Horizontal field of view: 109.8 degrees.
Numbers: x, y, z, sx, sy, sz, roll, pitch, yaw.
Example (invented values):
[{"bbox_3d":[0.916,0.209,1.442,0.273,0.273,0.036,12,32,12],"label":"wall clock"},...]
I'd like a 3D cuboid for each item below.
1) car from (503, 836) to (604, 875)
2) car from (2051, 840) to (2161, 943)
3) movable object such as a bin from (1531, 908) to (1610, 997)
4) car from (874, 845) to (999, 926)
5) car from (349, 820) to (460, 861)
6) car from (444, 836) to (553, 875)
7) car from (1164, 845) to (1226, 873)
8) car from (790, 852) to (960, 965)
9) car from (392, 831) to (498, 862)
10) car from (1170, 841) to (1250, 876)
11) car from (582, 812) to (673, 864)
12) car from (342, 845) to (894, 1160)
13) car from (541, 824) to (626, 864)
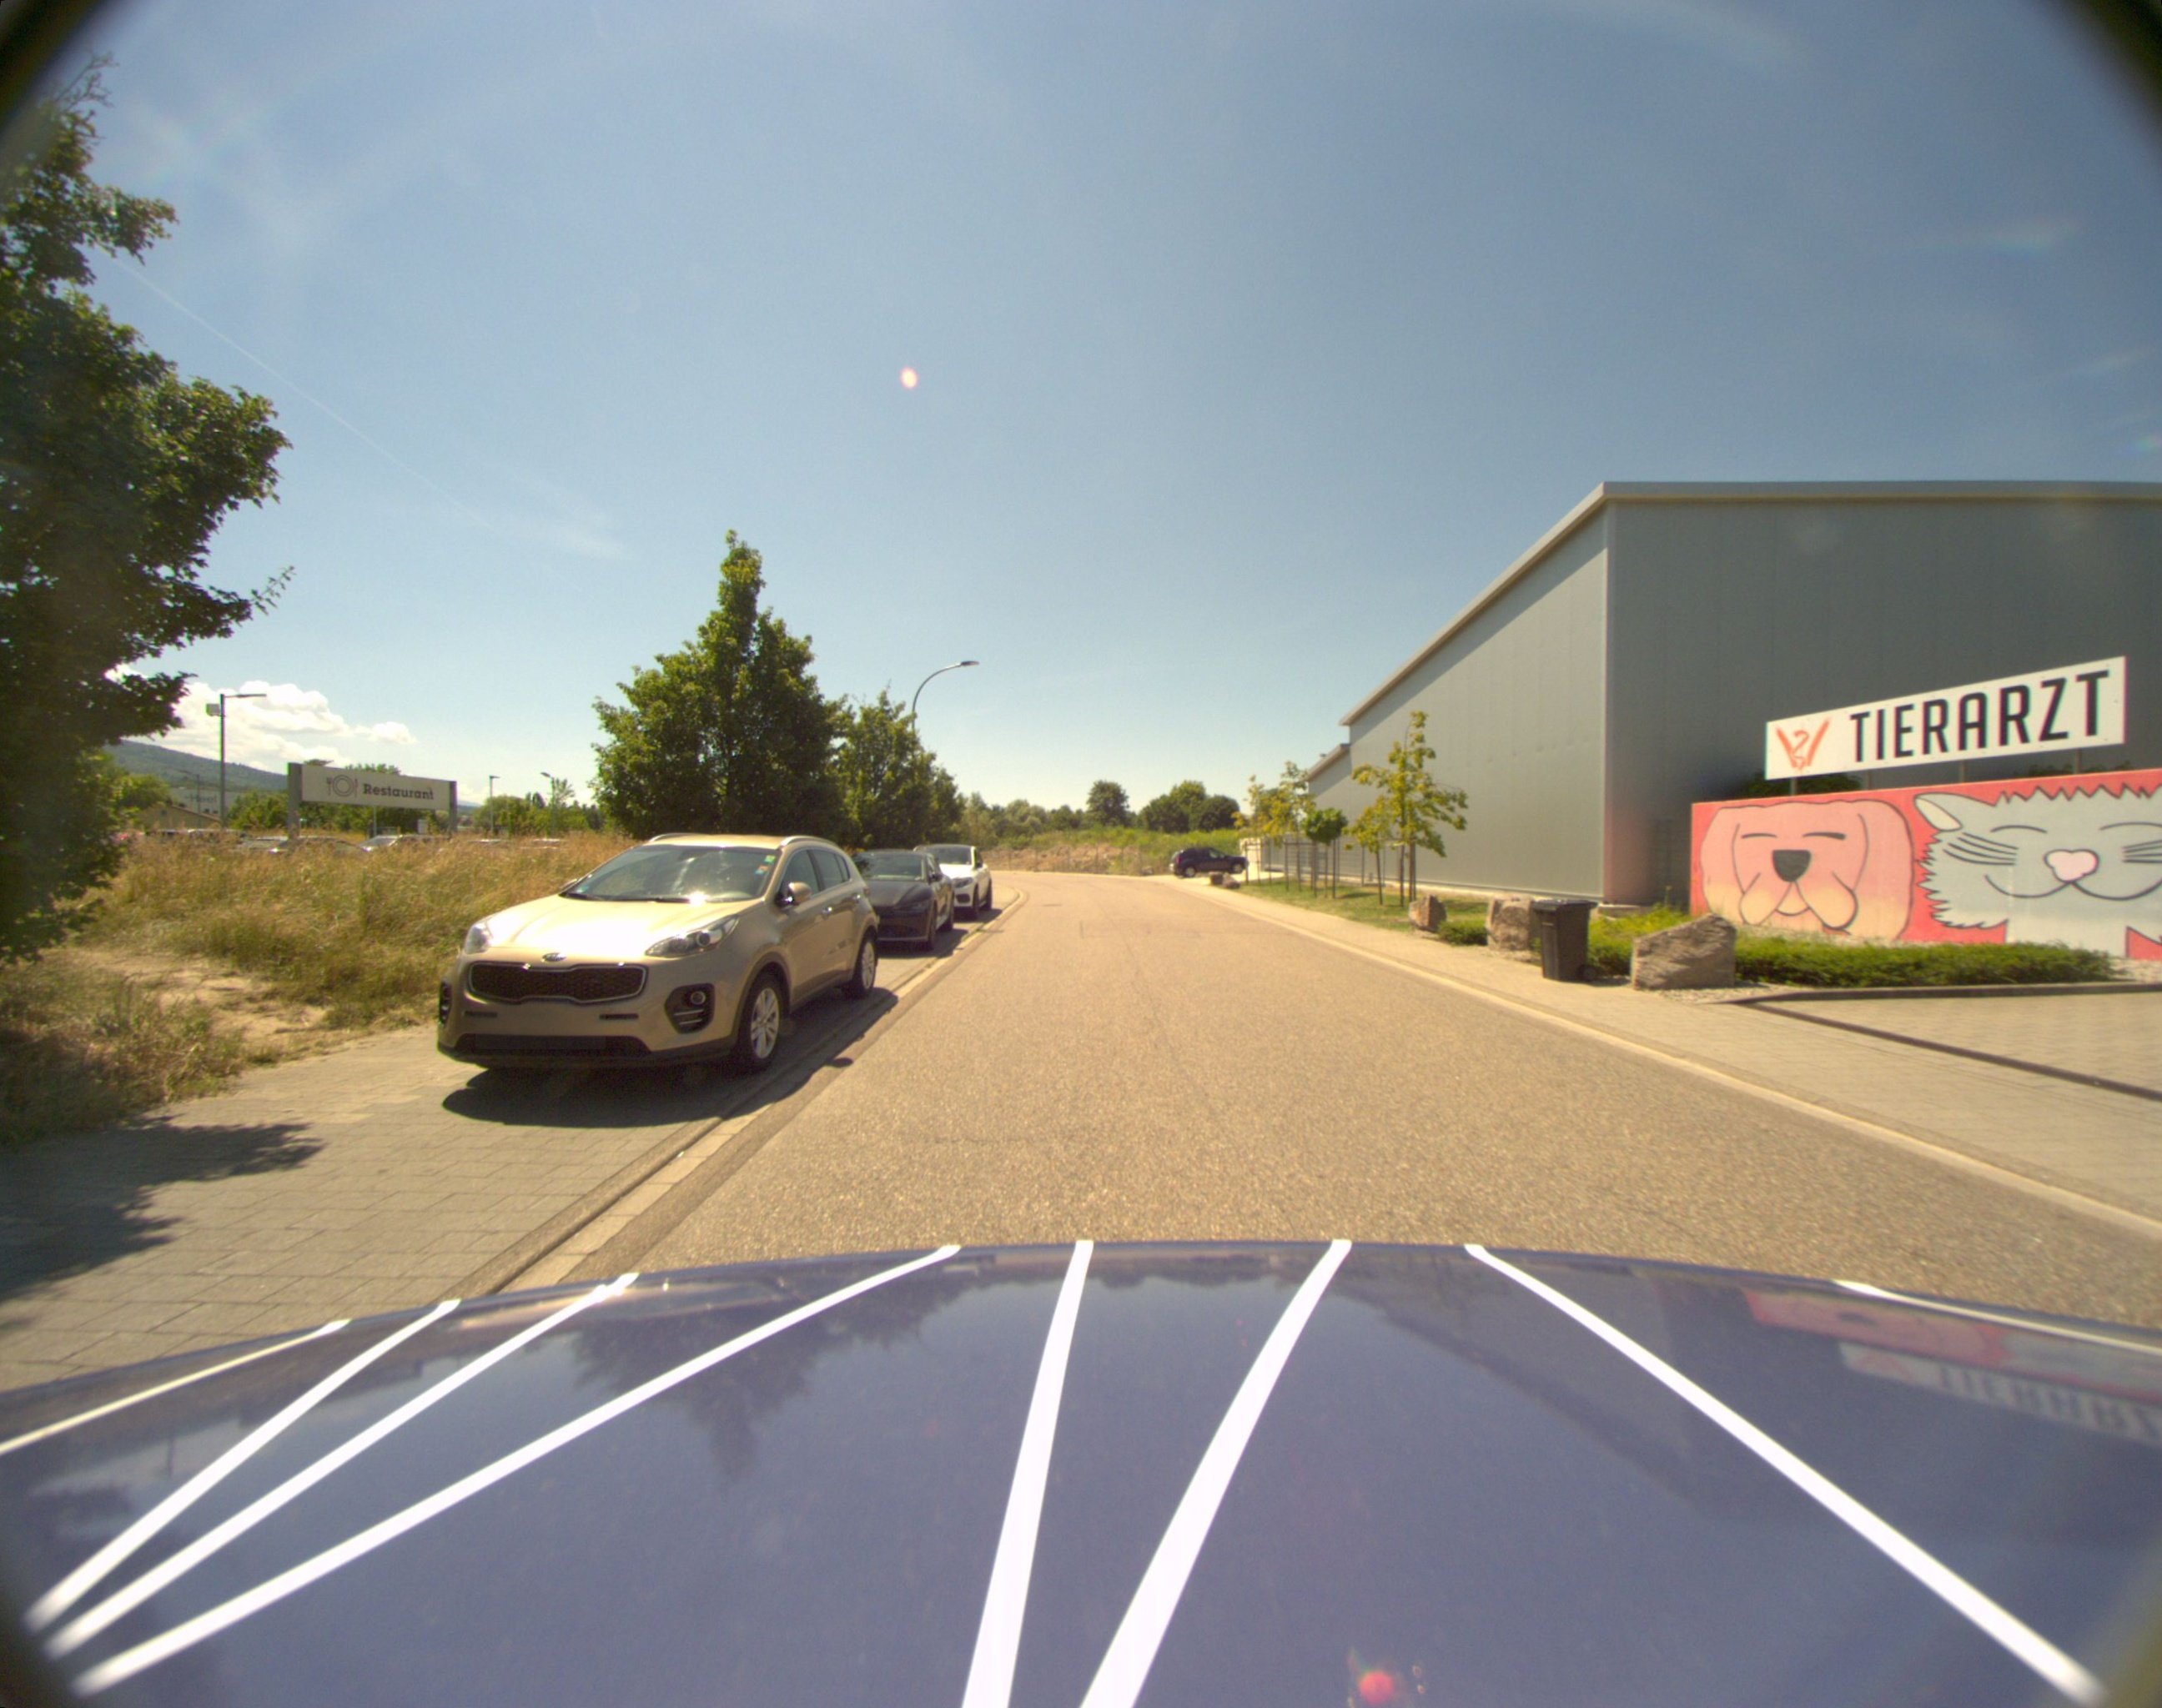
[{"bbox_3d":[-25.602,0.043,37.123,1.953,1.776,4.399,1,1,-2],"label":"car"},{"bbox_3d":[17.581,0.566,10.975,1.912,1.575,3.997,-1,0,-6],"label":"car"},{"bbox_3d":[5.596,1.109,8.704,0.572,0.944,0.512,-1,1,-6],"label":"movable object such as a bin"},{"bbox_3d":[-3.341,0.655,18.626,2.149,1.689,4.784,2,1,0],"label":"car"},{"bbox_3d":[-39.335,-0.783,44.376,1.998,2.230,4.751,1,1,4],"label":"car"},{"bbox_3d":[-28.384,0.004,37.218,1.937,1.776,4.399,1,1,0],"label":"car"},{"bbox_3d":[6.998,0.283,46.871,3.369,1.453,1.781,-5,1,-3],"label":"car"},{"bbox_3d":[-3.265,0.769,13.023,1.909,1.520,4.627,2,1,-4],"label":"car"},{"bbox_3d":[-36.803,-0.475,44.162,1.998,1.656,4.751,1,1,4],"label":"car"},{"bbox_3d":[7.349,0.227,43.452,4.173,1.649,1.781,-5,1,0],"label":"car"},{"bbox_3d":[-25.329,-0.902,42.696,1.998,2.727,4.751,1,1,4],"label":"car"},{"bbox_3d":[-3.007,0.774,6.255,1.809,1.626,4.457,2,1,0],"label":"car"},{"bbox_3d":[-27.771,-0.590,42.623,1.953,2.133,4.399,0,1,-2],"label":"car"}]
